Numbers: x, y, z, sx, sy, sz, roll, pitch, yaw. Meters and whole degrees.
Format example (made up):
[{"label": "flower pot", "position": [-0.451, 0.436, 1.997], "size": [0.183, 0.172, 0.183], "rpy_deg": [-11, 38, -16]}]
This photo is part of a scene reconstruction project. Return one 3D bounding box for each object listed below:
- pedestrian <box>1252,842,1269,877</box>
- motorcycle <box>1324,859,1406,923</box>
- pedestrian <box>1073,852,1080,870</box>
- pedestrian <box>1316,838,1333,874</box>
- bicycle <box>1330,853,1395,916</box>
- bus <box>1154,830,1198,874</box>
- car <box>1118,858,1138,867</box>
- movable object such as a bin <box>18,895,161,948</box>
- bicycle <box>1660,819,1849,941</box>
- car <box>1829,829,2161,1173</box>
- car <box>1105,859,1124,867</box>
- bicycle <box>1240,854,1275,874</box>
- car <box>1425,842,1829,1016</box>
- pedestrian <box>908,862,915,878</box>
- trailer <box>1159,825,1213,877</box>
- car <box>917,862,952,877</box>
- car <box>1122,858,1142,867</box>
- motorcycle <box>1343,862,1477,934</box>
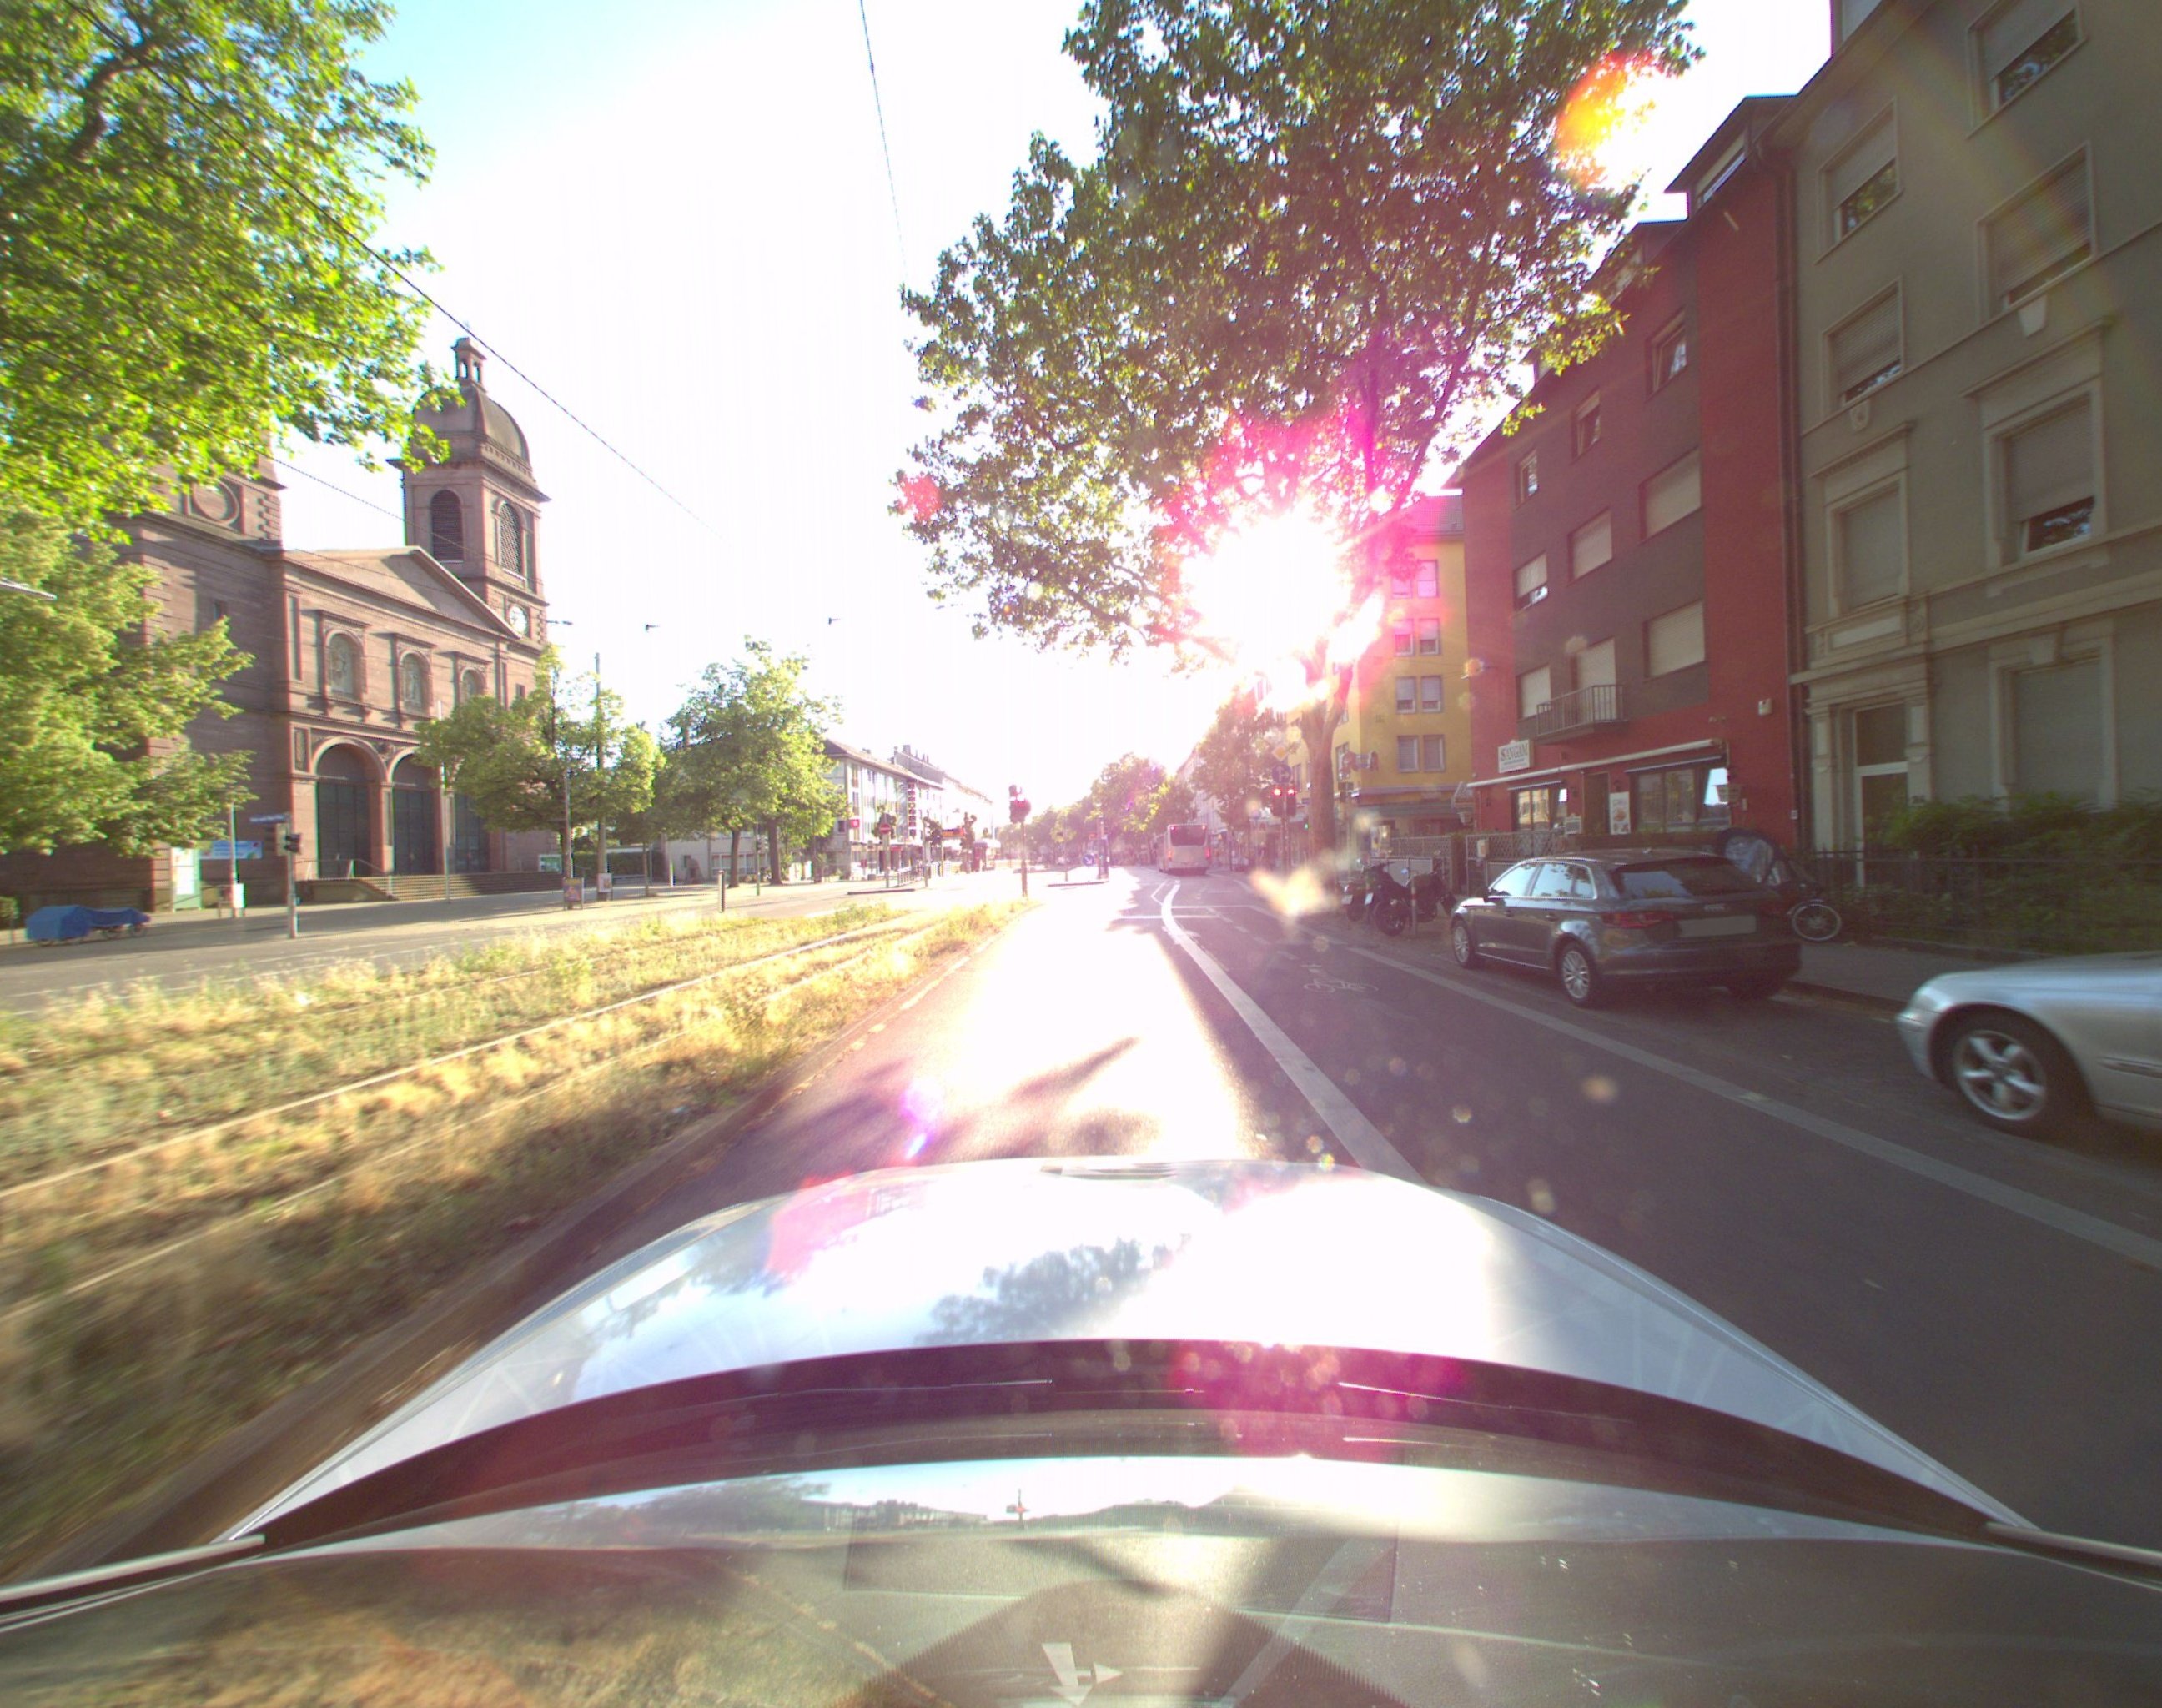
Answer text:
[{"label": "pedestrian", "position": [9.302, 0.263, 42.268], "size": [0.677, 1.770, 0.687], "rpy_deg": [-2, 0, 3]}, {"label": "motorcycle", "position": [5.787, 0.723, 16.514], "size": [2.009, 1.152, 0.594], "rpy_deg": [-2, 0, -40]}, {"label": "pedestrian", "position": [-0.208, 0.324, 38.557], "size": [0.290, 0.875, 0.344], "rpy_deg": [0, 0, -1]}, {"label": "pedestrian", "position": [11.913, 0.106, 39.883], "size": [0.677, 1.770, 0.687], "rpy_deg": [0, 0, 3]}, {"label": "bicycle", "position": [6.212, 0.641, 17.882], "size": [0.687, 1.203, 1.859], "rpy_deg": [0, 4, 41]}, {"label": "bus", "position": [7.169, -0.146, 62.553], "size": [2.801, 3.101, 9.100], "rpy_deg": [0, 0, 3]}, {"label": "car", "position": [10.151, 1.883, 176.686], "size": [3.911, 1.699, 1.817], "rpy_deg": [-2, 0, -26]}, {"label": "movable object such as a bin", "position": [-29.158, 1.965, 24.043], "size": [1.103, 1.211, 2.448], "rpy_deg": [0, 4, 3]}, {"label": "bicycle", "position": [8.756, 0.310, 10.759], "size": [0.604, 1.426, 2.398], "rpy_deg": [0, 0, 3]}, {"label": "car", "position": [5.439, 0.614, 2.724], "size": [1.668, 1.451, 4.570], "rpy_deg": [-2, 0, 0]}, {"label": "car", "position": [7.398, 1.973, 181.246], "size": [3.911, 1.596, 1.677], "rpy_deg": [-2, 0, -26]}, {"label": "bicycle", "position": [9.902, 0.567, 45.706], "size": [1.766, 1.021, 0.694], "rpy_deg": [-3, 0, 1]}, {"label": "car", "position": [5.490, 0.622, 8.994], "size": [1.703, 1.396, 4.325], "rpy_deg": [-2, 0, 3]}, {"label": "pedestrian", "position": [-21.535, 2.012, 103.619], "size": [0.708, 2.013, 0.946], "rpy_deg": [-2, 0, -9]}, {"label": "trailer", "position": [6.748, -0.178, 53.609], "size": [2.801, 3.110, 8.800], "rpy_deg": [0, 0, 3]}, {"label": "car", "position": [-18.979, 2.017, 105.419], "size": [4.006, 1.816, 1.984], "rpy_deg": [-2, 0, -24]}, {"label": "car", "position": [10.875, 1.845, 173.276], "size": [3.911, 1.699, 1.817], "rpy_deg": [-2, 0, -26]}, {"label": "motorcycle", "position": [5.795, 0.743, 14.336], "size": [2.214, 1.063, 0.762], "rpy_deg": [-4, 1, -20]}]
